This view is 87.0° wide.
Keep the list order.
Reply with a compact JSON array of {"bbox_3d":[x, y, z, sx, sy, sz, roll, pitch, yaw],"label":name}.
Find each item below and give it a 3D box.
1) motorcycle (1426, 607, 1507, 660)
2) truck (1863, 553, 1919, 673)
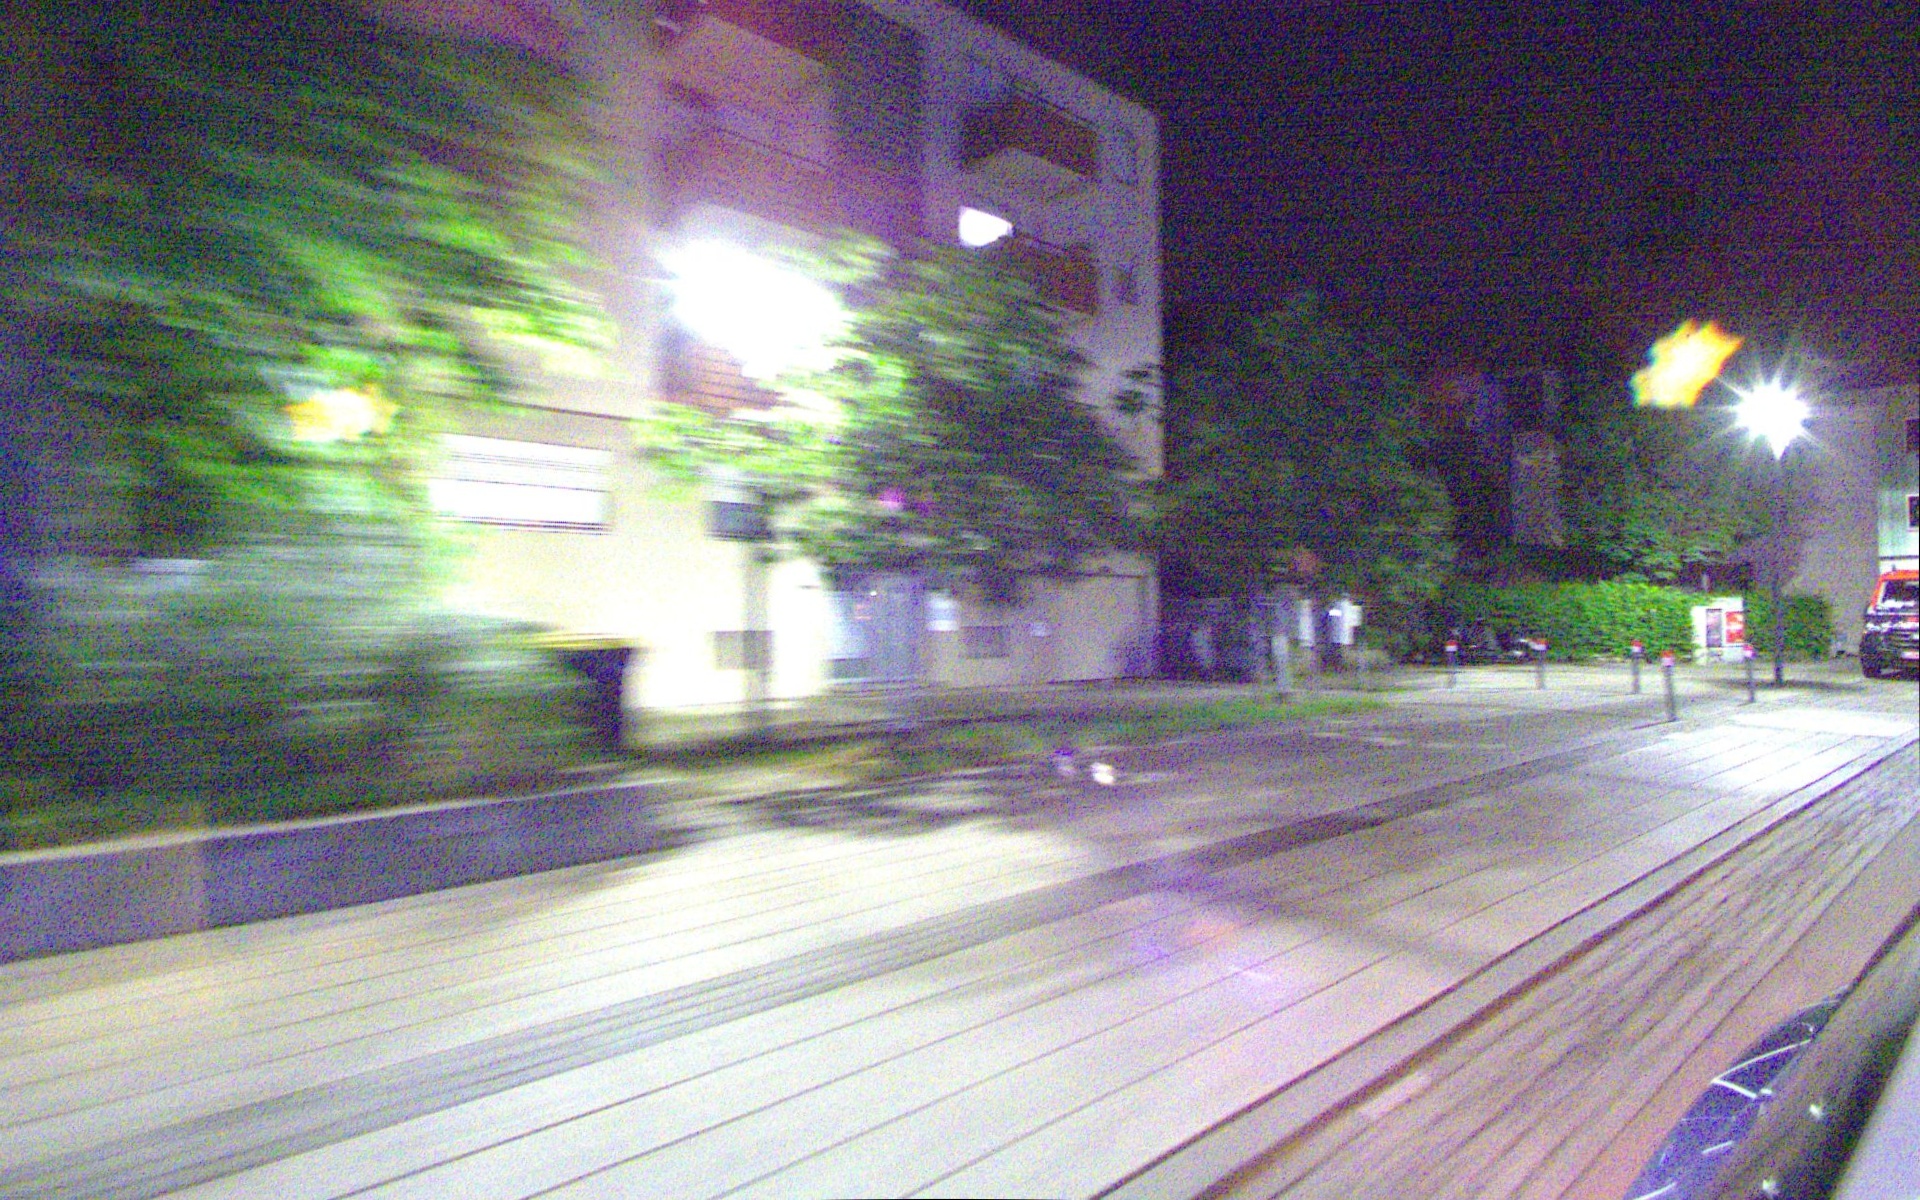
[{"bbox_3d":[12.474,0.804,24.957,1.718,1.267,0.426,-1,-1,42],"label":"motorcycle"},{"bbox_3d":[20.759,0.243,20.767,6.170,2.272,2.111,0,-1,-37],"label":"truck"}]
